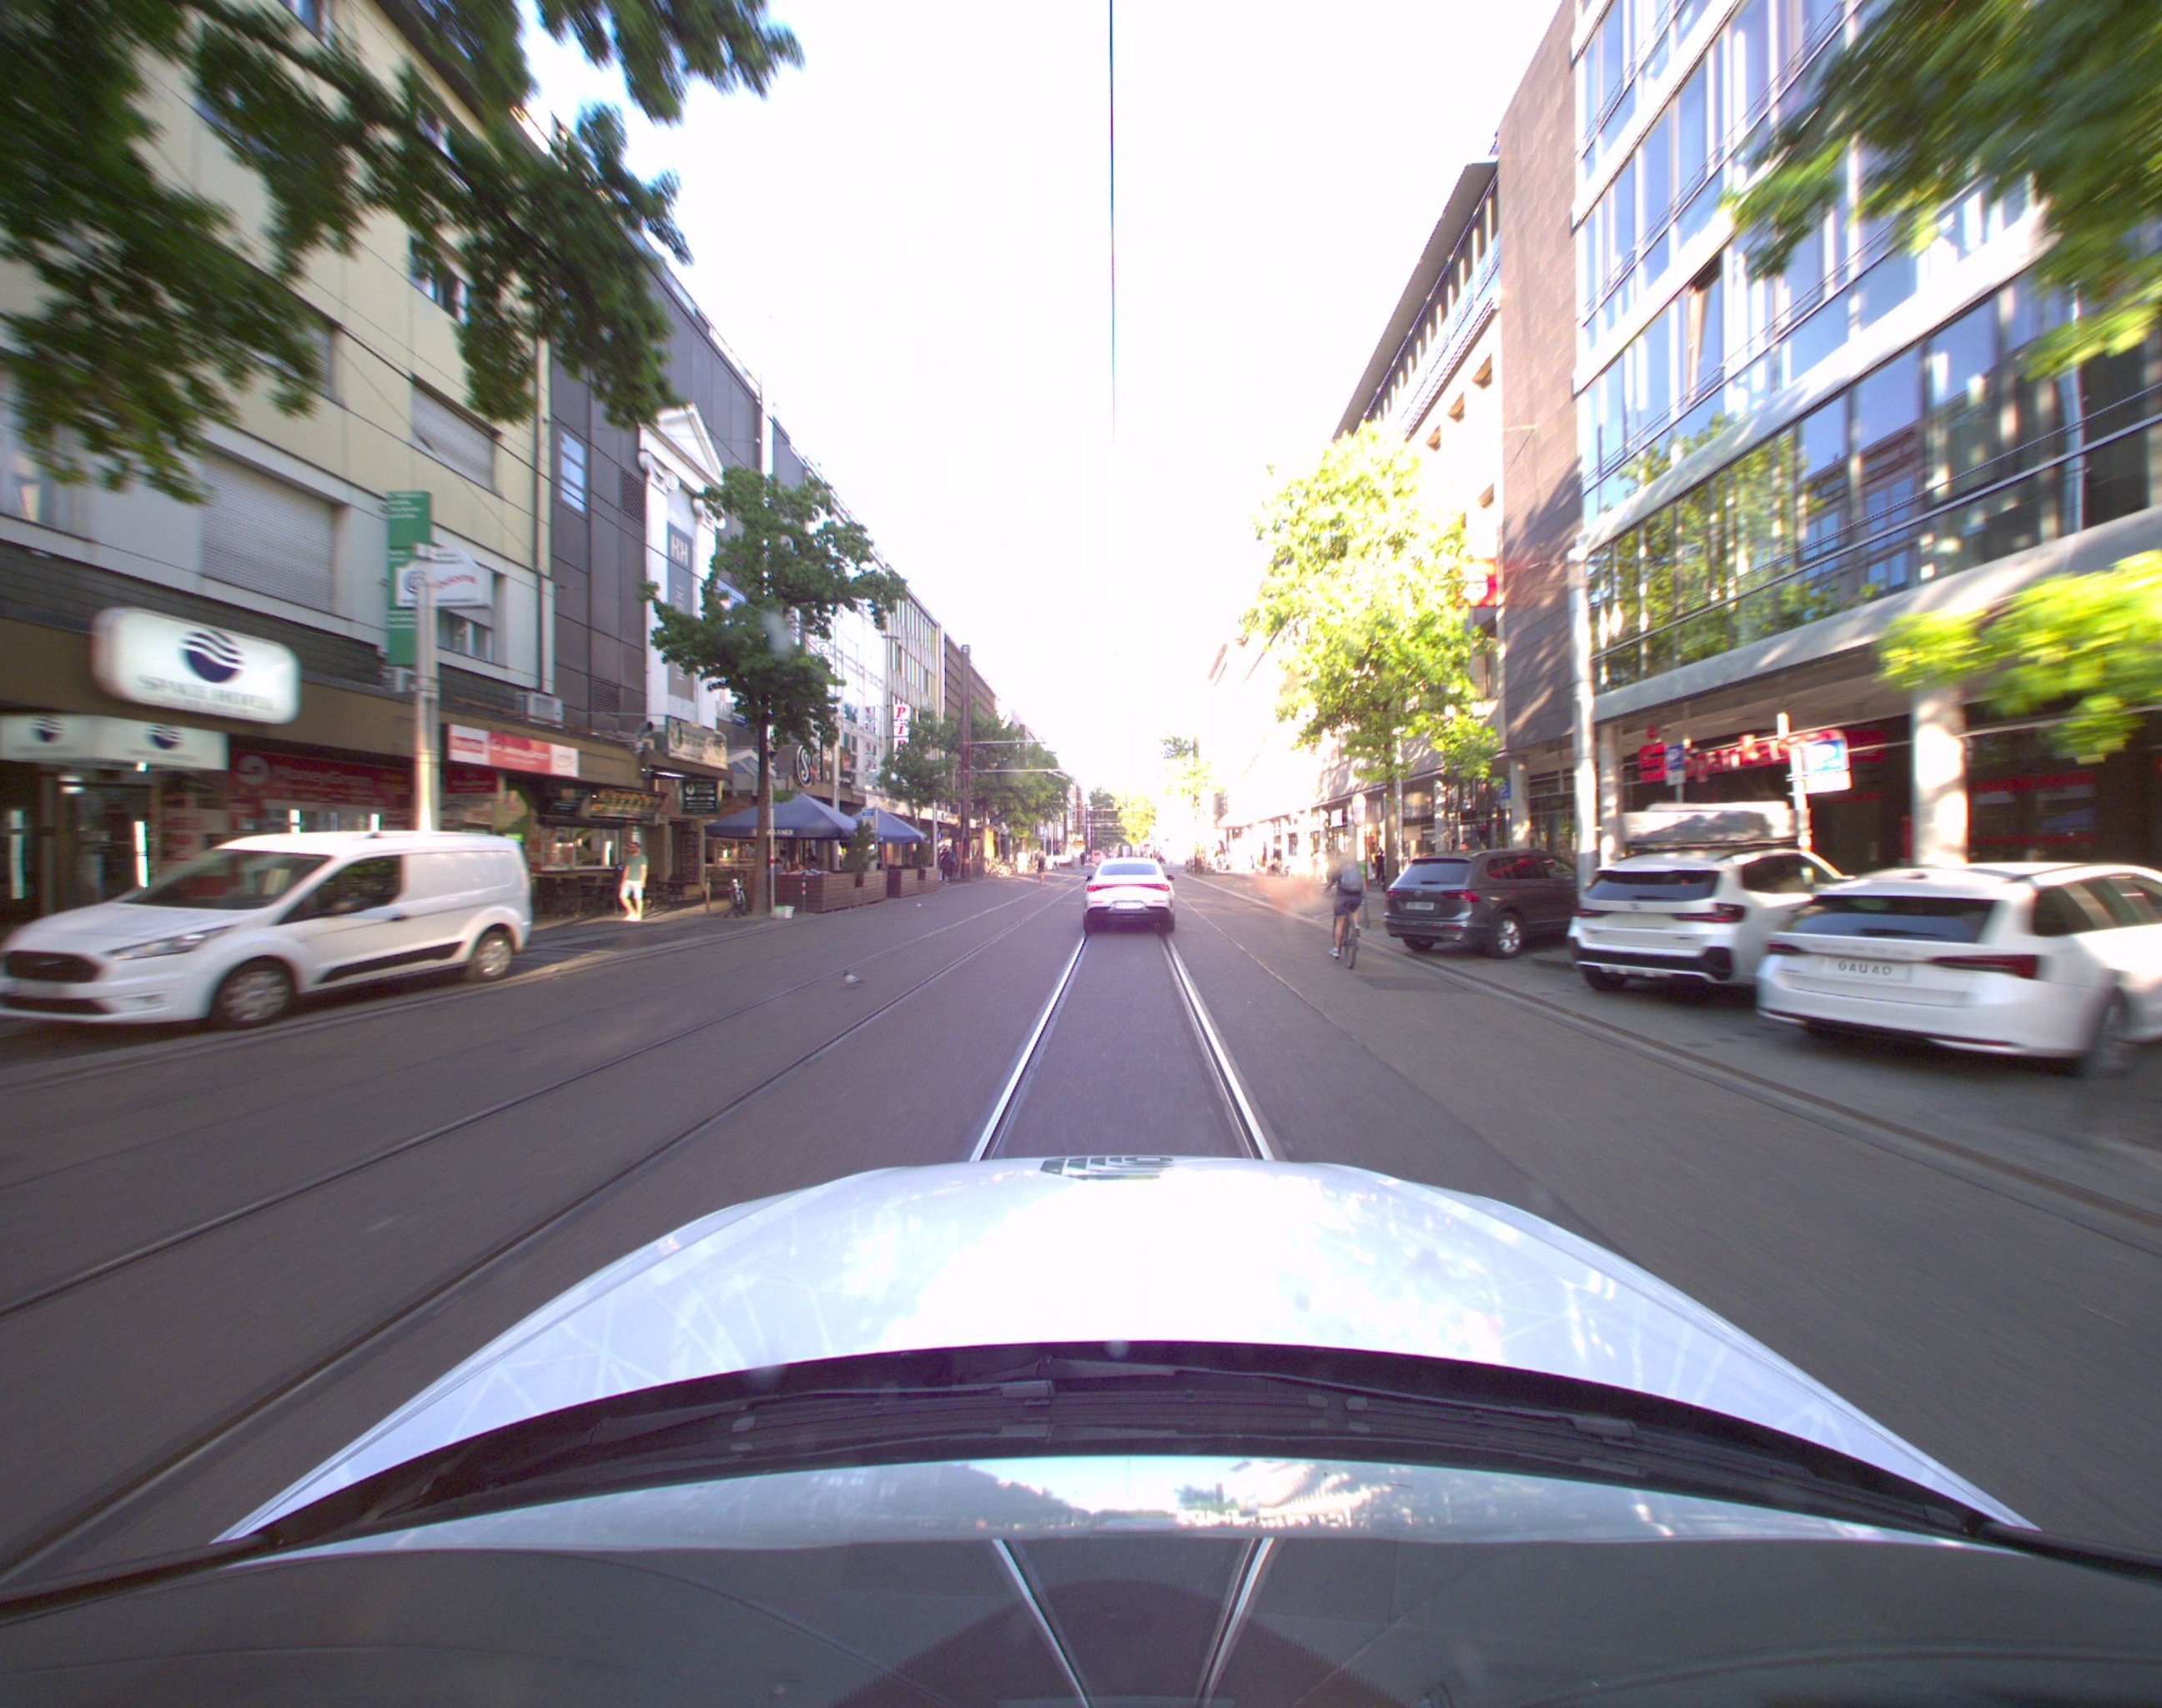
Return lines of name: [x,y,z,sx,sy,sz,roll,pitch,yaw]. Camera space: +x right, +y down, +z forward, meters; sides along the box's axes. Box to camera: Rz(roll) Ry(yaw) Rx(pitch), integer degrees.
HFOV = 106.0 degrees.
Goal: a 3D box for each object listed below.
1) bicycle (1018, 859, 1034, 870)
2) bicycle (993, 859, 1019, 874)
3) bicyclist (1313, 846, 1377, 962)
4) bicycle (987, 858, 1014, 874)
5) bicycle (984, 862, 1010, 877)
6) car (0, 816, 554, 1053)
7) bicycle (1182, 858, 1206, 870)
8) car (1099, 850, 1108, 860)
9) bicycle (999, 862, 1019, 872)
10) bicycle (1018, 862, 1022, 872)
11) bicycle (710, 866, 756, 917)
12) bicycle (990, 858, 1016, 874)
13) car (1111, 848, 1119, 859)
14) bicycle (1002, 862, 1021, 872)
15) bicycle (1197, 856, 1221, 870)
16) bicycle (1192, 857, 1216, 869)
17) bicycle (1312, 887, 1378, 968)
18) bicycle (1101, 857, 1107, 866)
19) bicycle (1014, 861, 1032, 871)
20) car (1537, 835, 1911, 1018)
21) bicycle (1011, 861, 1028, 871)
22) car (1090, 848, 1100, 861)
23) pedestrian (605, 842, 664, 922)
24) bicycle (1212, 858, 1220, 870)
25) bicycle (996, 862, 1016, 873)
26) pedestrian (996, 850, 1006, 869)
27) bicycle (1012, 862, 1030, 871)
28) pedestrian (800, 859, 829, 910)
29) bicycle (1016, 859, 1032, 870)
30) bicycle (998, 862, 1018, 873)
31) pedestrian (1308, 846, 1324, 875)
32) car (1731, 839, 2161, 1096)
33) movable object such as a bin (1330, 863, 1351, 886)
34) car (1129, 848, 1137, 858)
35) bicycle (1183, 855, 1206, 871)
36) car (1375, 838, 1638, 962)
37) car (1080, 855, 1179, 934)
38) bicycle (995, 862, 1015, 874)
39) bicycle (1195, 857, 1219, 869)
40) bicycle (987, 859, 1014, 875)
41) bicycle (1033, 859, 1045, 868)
bicycle: [-5.073,0.940,74.926,1.491,1.029,0.344,1,0,-7]
bicycle: [-5.271,0.872,57.240,1.841,1.077,0.377,1,0,-1]
bicyclist: [3.871,0.700,11.990,0.772,1.613,0.916,1,0,12]
bicycle: [-5.529,0.836,56.086,1.784,1.077,0.377,1,0,-1]
bicycle: [-5.419,1.025,52.700,1.586,0.930,0.378,1,0,9]
car: [-8.273,0.637,8.879,1.787,1.864,4.558,2,0,4]
bicycle: [10.509,0.904,75.526,2.112,1.096,0.608,0,-1,-9]
car: [5.588,0.241,202.800,1.901,2.461,5.280,-1,0,4]
bicycle: [-5.690,1.045,64.181,1.486,0.783,0.345,1,0,4]
bicycle: [-4.920,1.035,65.794,0.343,0.783,1.403,1,0,-4]
bicycle: [-8.504,0.894,19.983,0.698,1.121,2.076,2,0,-14]
bicycle: [-5.713,0.894,59.710,1.838,1.141,0.377,1,0,4]
car: [9.805,-0.169,234.715,2.090,2.897,5.280,-1,0,4]
bicycle: [-5.546,1.050,64.857,1.486,0.783,0.345,1,0,4]
bicycle: [11.254,0.813,71.693,1.907,1.156,0.608,-2,0,-9]
bicycle: [11.632,0.866,77.009,2.112,1.096,0.608,-1,-1,-9]
bicycle: [3.898,1.036,12.153,0.713,0.995,2.066,1,0,12]
bicycle: [3.096,0.999,108.422,0.797,1.142,2.258,1,0,2]
bicycle: [-5.211,1.077,73.162,1.486,0.783,0.345,1,0,4]
car: [7.582,0.684,9.547,4.260,1.587,1.867,-3,0,-28]
bicycle: [-5.433,1.054,71.732,1.486,0.783,0.345,1,0,4]
car: [3.103,0.052,184.028,1.985,2.897,5.280,-1,0,4]
pedestrian: [-9.823,0.594,17.947,0.664,1.686,1.006,1,0,2]
bicycle: [12.771,0.940,77.004,0.561,1.127,1.933,-2,0,6]
bicycle: [-5.790,1.052,62.888,1.486,0.841,0.345,1,0,4]
pedestrian: [-7.673,0.531,78.285,0.789,1.766,0.533,-1,0,-22]
bicycle: [-5.354,1.077,72.805,1.486,0.783,0.345,1,0,4]
pedestrian: [-7.213,0.815,22.034,0.547,1.356,0.583,0,0,2]
bicycle: [-5.231,0.944,74.494,1.491,1.009,0.344,1,0,-7]
bicycle: [-5.696,1.059,63.615,1.486,0.841,0.345,1,0,4]
pedestrian: [14.090,0.392,48.805,0.741,1.700,0.858,0,0,3]
car: [7.679,0.715,6.742,4.161,1.499,1.677,-3,0,-21]
movable object such as a bin: [10.668,0.847,33.479,0.687,0.924,0.719,1,0,3]
car: [14.996,-0.187,234.799,2.090,2.897,5.290,-1,0,4]
bicycle: [10.099,0.793,72.555,1.907,1.281,0.608,-2,0,-9]
car: [7.146,0.658,13.575,4.368,1.652,1.679,-3,0,-28]
car: [1.021,0.768,17.364,1.849,1.455,4.178,0,0,3]
bicycle: [-5.733,1.041,61.557,1.489,0.876,0.344,1,0,-3]
bicycle: [11.577,0.828,74.809,2.114,1.096,0.608,-1,-1,-10]
bicycle: [-5.493,0.896,55.620,1.784,1.077,0.377,1,0,-1]
bicycle: [-4.993,1.125,96.156,0.713,1.010,2.048,-1,0,17]
